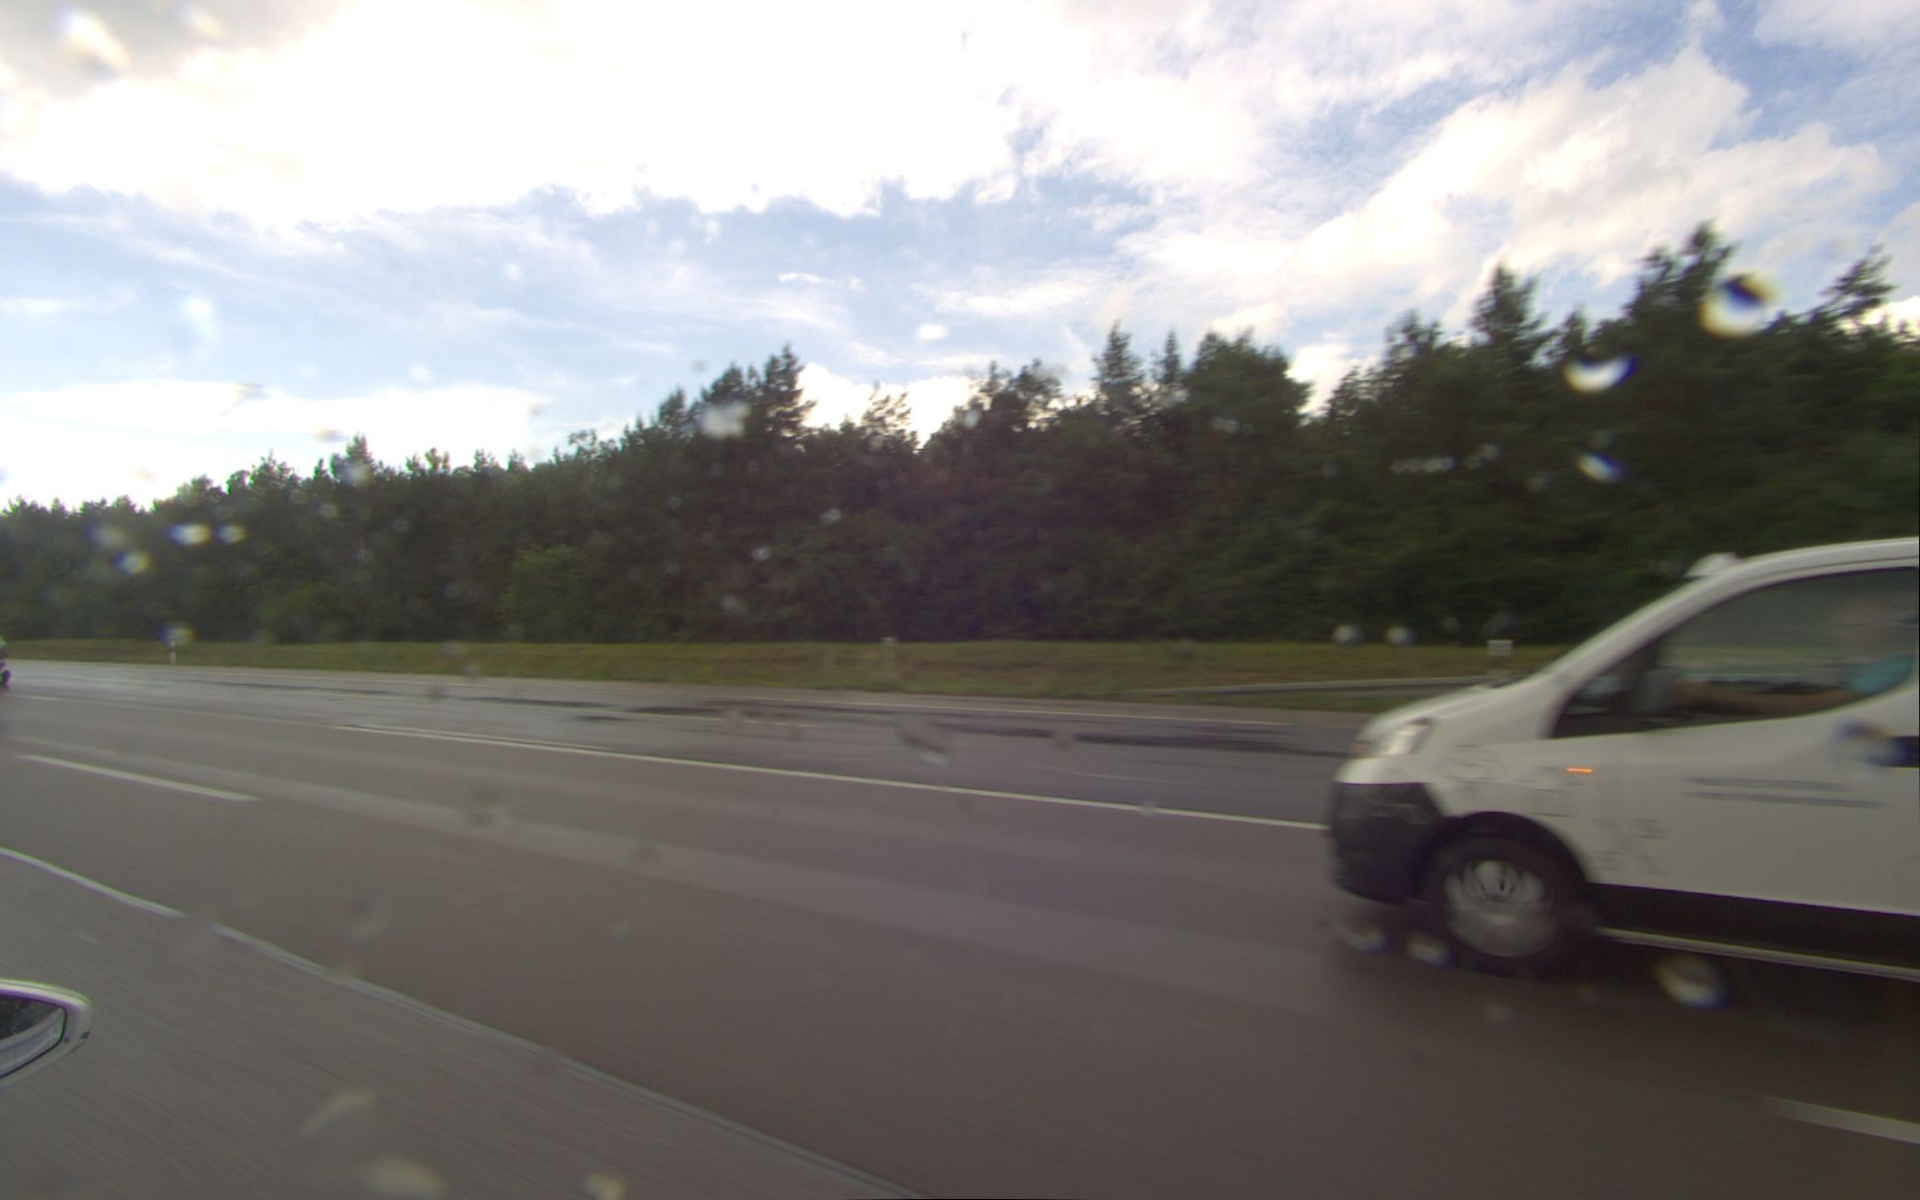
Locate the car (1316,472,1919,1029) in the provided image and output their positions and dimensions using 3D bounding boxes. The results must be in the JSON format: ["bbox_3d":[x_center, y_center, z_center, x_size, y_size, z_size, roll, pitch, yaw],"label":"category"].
[{"bbox_3d":[4.165,0.531,4.073,4.813,1.926,1.959,-1,-1,33],"label":"car"}]

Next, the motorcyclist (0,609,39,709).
[{"bbox_3d":[-16.124,0.982,16.730,0.945,1.635,0.889,-1,-1,33],"label":"motorcyclist"}]

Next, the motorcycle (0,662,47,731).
[{"bbox_3d":[-16.298,1.604,16.764,2.143,1.045,0.998,-1,-1,33],"label":"motorcycle"}]
